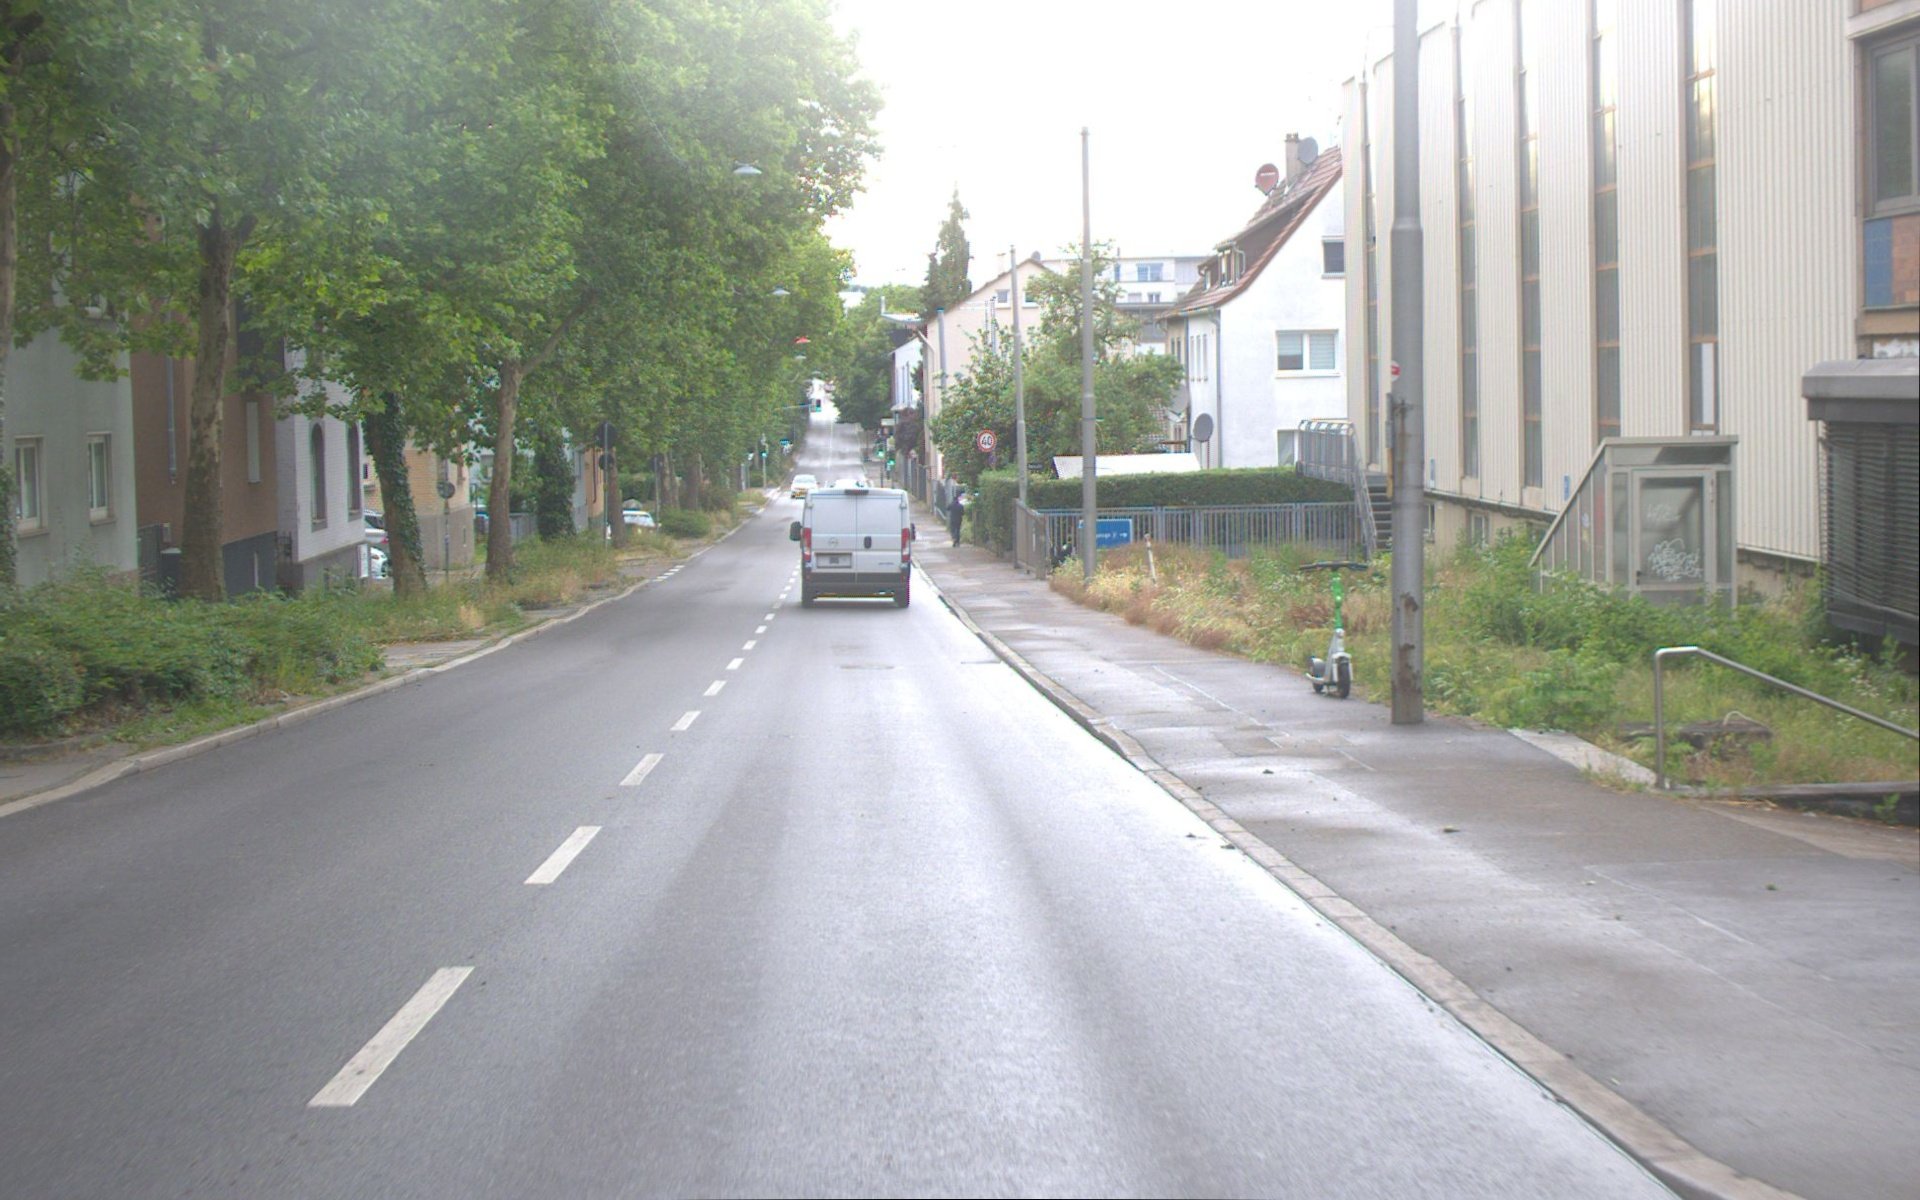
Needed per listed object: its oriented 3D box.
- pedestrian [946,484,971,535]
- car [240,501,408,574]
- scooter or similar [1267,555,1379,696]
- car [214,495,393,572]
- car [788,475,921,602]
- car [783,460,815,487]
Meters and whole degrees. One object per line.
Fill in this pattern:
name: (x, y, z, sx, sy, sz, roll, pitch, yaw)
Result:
pedestrian: (-0.041, -2.995, 114.103, 0.815, 1.692, 0.729, 0, 1, -1)
car: (-17.207, -1.696, 93.191, 4.196, 1.885, 2.000, -1, 2, -2)
scooter or similar: (3.122, 0.203, 29.688, 0.605, 1.158, 1.700, -1, 1, -6)
car: (-16.737, -1.709, 87.772, 4.196, 1.885, 2.000, -1, 2, -2)
car: (-2.063, -1.214, 65.577, 2.346, 2.152, 4.779, -2, 3, -3)
car: (-10.480, -8.237, 223.335, 1.993, 1.703, 4.261, 0, 2, -4)
